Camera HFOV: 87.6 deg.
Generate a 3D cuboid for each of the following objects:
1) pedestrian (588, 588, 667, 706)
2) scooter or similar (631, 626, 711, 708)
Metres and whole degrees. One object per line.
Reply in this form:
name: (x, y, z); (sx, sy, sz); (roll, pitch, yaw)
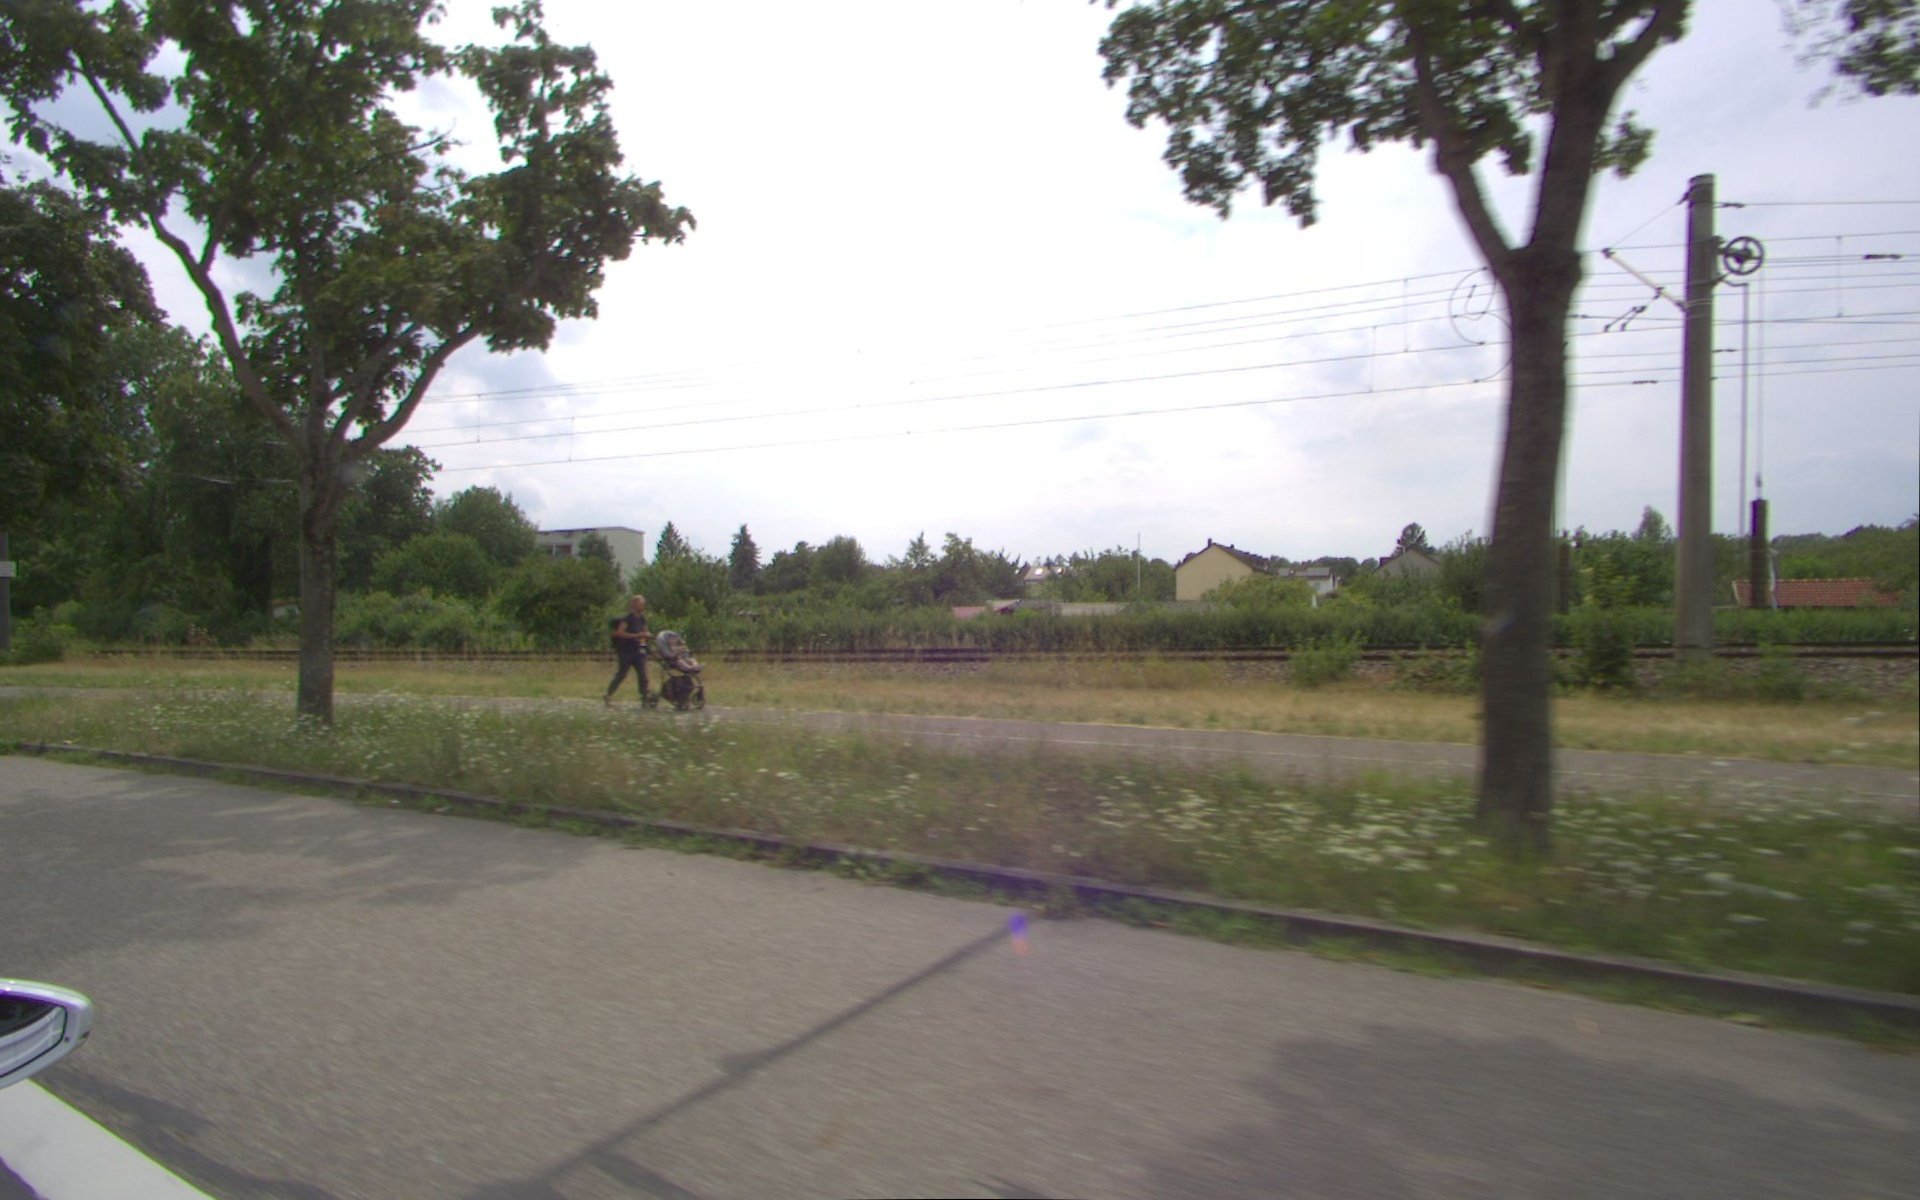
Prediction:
pedestrian: (-5.017, 0.684, 15.108); (0.919, 1.718, 0.690); (0, 0, 28)
scooter or similar: (-4.233, 0.957, 14.677); (0.919, 1.145, 0.681); (0, 0, 27)
